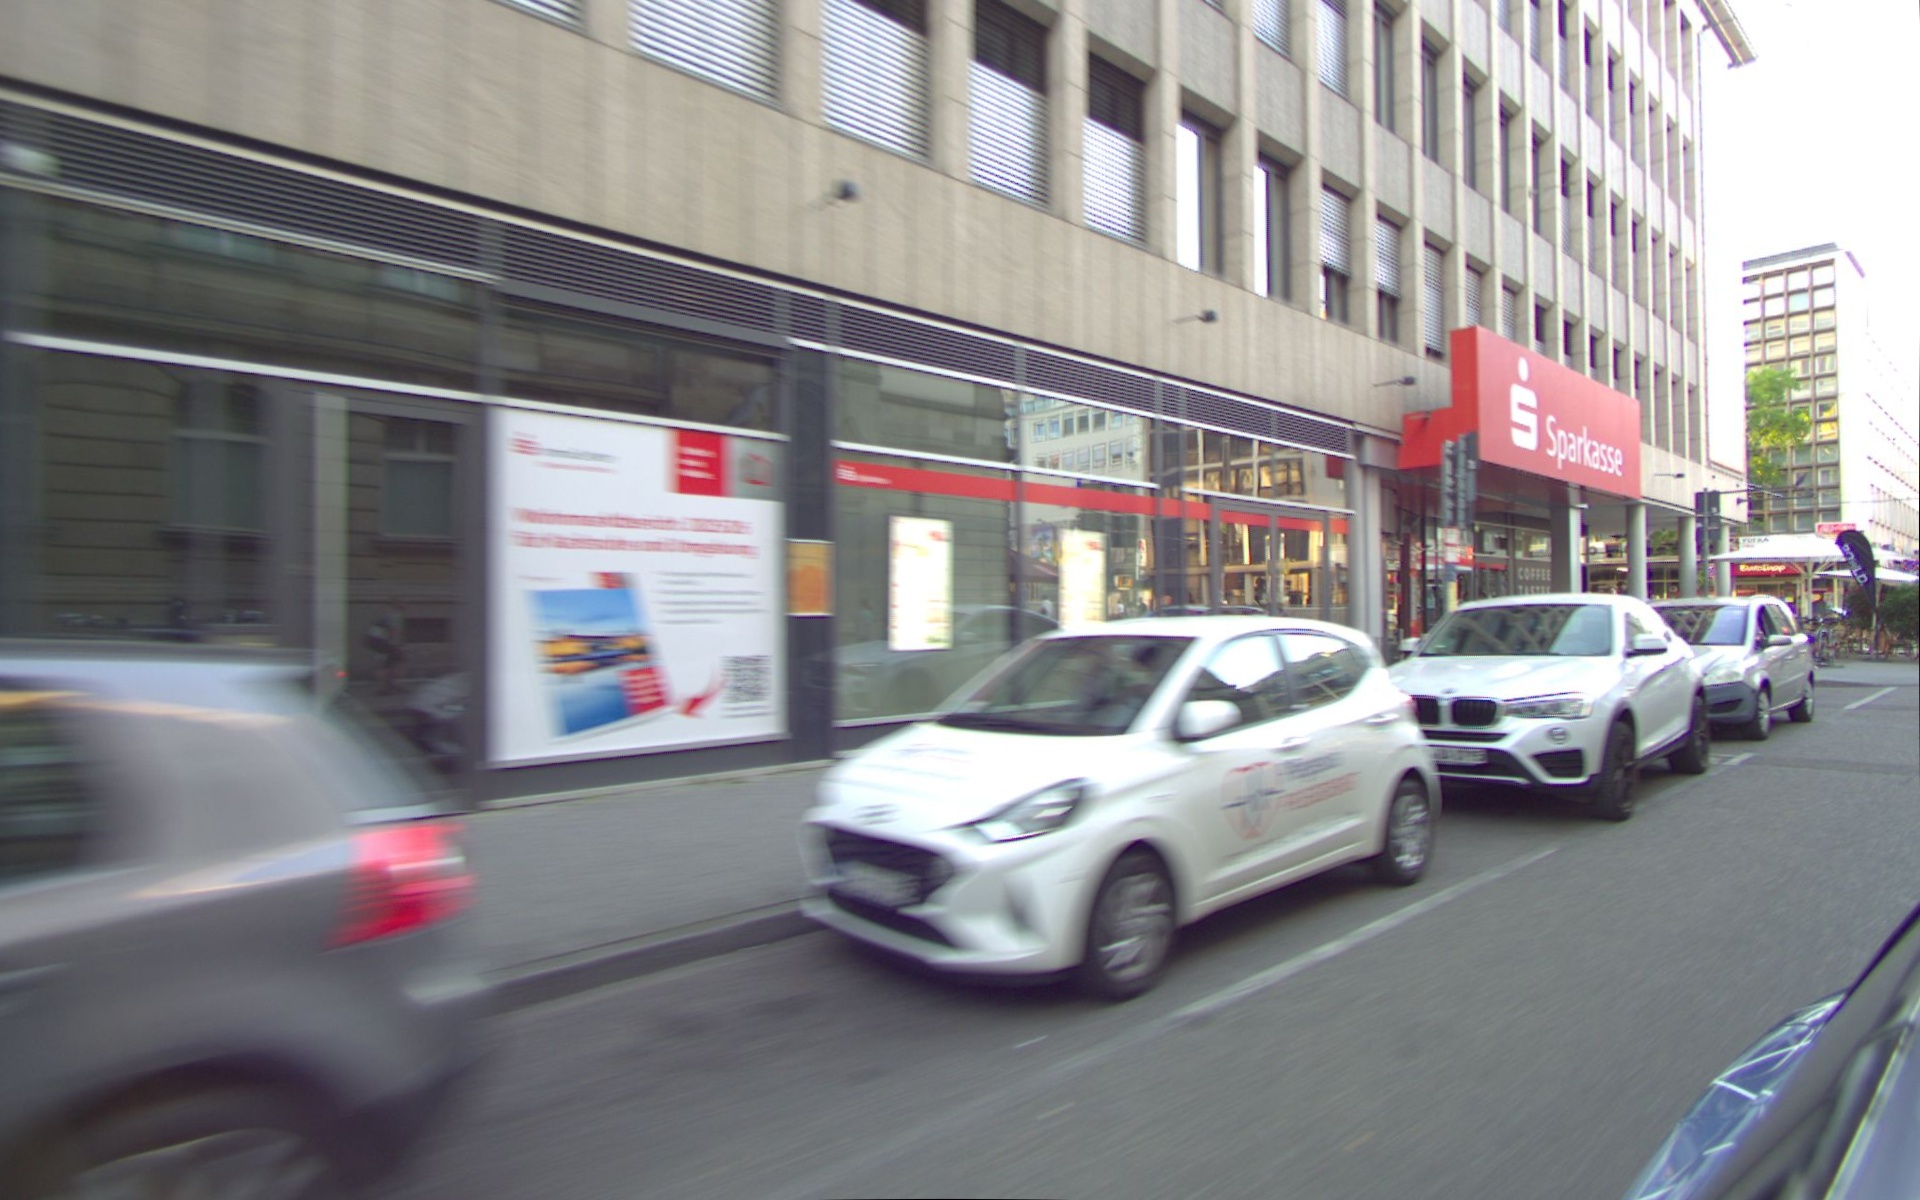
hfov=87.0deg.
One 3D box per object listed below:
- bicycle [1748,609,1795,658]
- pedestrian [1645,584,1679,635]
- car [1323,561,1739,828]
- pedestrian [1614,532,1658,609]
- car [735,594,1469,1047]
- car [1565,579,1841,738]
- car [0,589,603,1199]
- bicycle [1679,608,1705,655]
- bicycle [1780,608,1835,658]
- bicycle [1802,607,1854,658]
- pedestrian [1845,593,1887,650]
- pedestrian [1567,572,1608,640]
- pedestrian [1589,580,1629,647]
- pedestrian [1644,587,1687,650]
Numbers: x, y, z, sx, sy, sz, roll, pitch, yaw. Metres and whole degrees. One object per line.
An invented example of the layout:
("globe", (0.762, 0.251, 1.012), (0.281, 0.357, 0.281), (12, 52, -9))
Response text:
("bicycle", (17.916, 0.725, 22.335), (1.829, 1.046, 0.383), (0, -1, -37))
("pedestrian", (23.779, 0.318, 34.261), (0.756, 1.710, 0.795), (1, -1, -42))
("car", (5.103, 0.595, 8.693), (4.734, 1.687, 1.777), (-1, -1, -44))
("pedestrian", (17.343, -0.743, 25.956), (0.675, 1.943, 0.798), (1, -1, -42))
("car", (0.954, 0.747, 5.253), (3.801, 1.466, 1.659), (-1, -1, -41))
("car", (9.330, 0.638, 12.555), (4.632, 1.619, 1.742), (0, -3, -41))
("car", (-2.996, 0.756, 1.486), (4.371, 1.466, 1.658), (-1, -1, -43))
("bicycle", (16.982, 0.709, 23.478), (0.381, 1.046, 1.837), (0, 0, 39))
("bicycle", (18.316, 0.703, 21.865), (1.827, 1.046, 0.383), (0, -1, -33))
("bicycle", (18.505, 0.682, 21.570), (1.827, 1.046, 0.330), (0, -1, -33))
("pedestrian", (27.512, 0.644, 30.752), (0.789, 1.710, 0.761), (0, -1, 30))
("pedestrian", (16.716, 0.154, 26.946), (0.797, 1.784, 0.676), (0, -1, 45))
("pedestrian", (17.587, 0.369, 27.424), (0.797, 1.784, 0.676), (0, -1, 45))
("pedestrian", (20.113, 0.515, 28.871), (0.787, 1.784, 0.685), (0, -1, 11))
